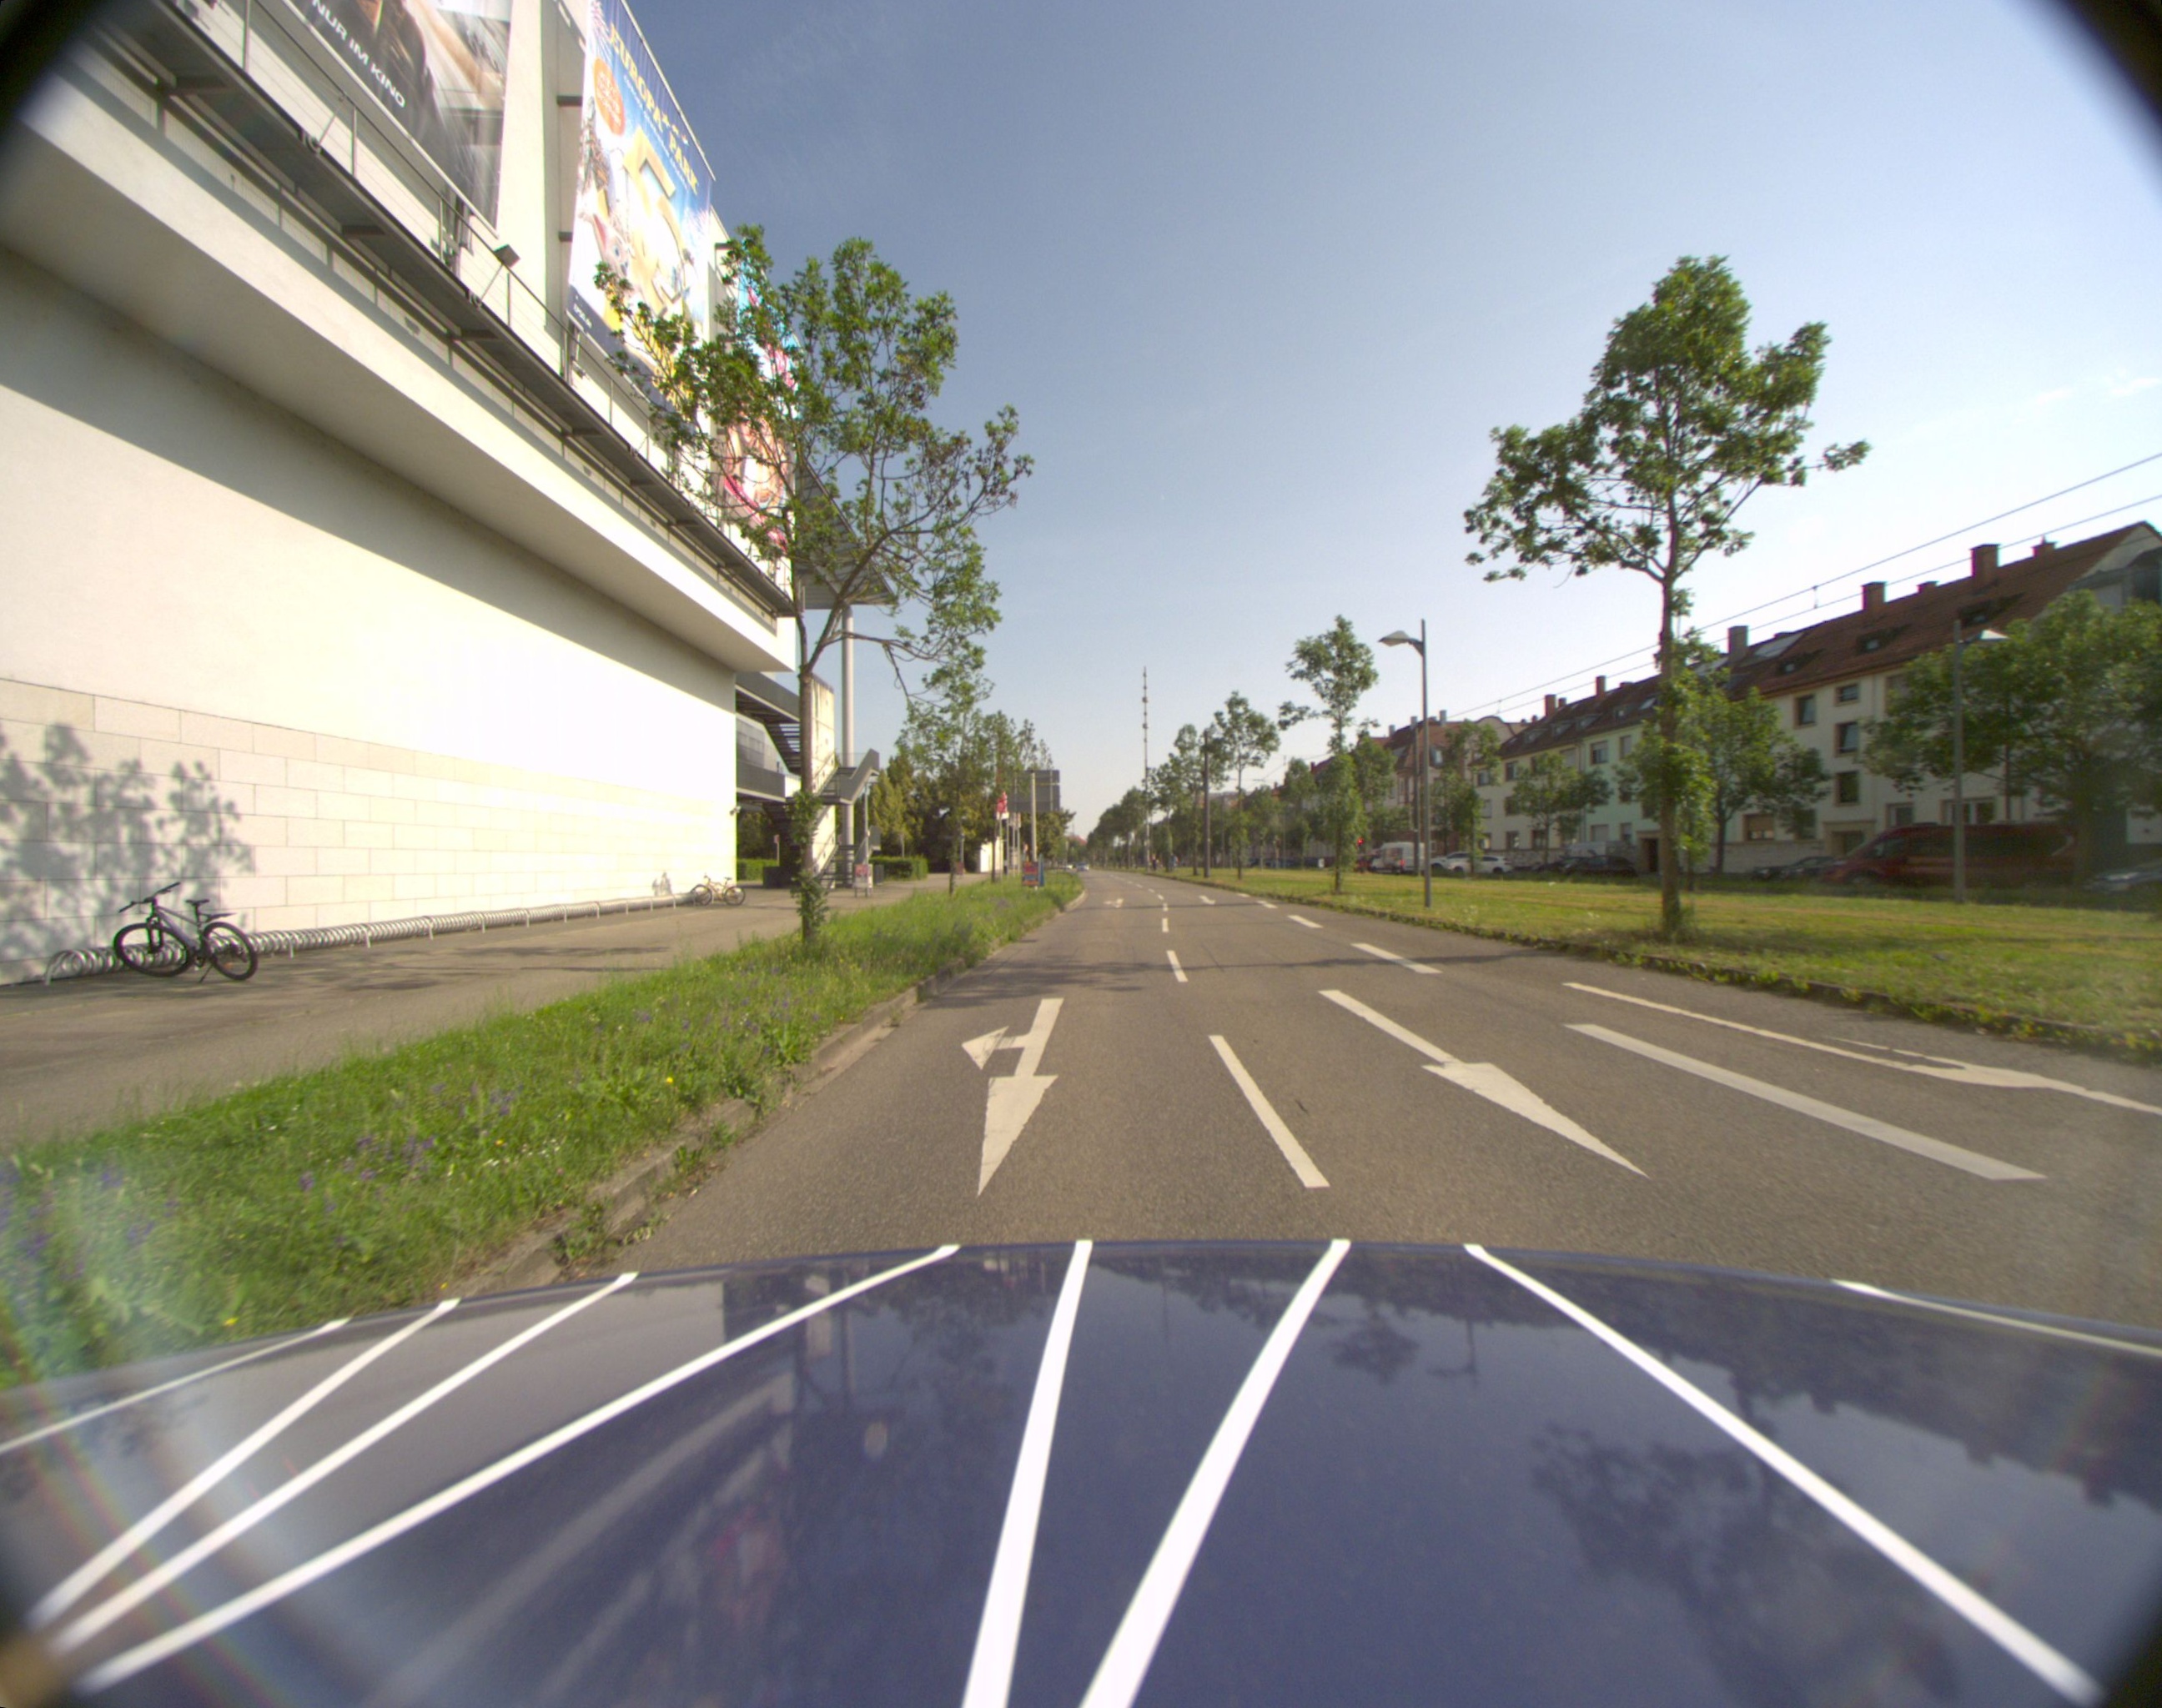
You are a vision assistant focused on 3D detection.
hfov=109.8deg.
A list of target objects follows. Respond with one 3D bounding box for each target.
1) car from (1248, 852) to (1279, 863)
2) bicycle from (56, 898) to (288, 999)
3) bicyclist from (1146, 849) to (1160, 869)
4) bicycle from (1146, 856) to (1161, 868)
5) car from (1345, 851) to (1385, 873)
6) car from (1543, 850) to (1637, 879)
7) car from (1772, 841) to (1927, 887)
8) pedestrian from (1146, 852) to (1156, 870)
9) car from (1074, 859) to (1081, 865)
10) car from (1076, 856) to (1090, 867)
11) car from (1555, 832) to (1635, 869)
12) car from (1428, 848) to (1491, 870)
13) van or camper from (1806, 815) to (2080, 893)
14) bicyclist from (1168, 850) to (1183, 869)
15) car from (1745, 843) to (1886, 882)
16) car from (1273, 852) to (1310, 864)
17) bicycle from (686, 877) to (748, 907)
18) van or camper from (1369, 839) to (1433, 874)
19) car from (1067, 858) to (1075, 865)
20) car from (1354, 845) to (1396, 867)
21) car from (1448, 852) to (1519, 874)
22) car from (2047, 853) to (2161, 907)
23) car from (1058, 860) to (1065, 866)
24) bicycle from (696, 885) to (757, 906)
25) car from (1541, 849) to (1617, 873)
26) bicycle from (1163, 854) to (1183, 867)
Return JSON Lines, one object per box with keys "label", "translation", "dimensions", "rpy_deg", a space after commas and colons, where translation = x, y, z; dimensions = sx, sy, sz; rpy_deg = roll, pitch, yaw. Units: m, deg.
{"label": "car", "translation": [29.064, 0.539, 121.005], "dimensions": [4.490, 1.596, 2.003], "rpy_deg": [-2, 0, 28]}
{"label": "bicycle", "translation": [-10.689, 1.096, 8.972], "dimensions": [2.013, 1.096, 0.676], "rpy_deg": [-1, 0, 3]}
{"label": "bicyclist", "translation": [6.601, 0.429, 69.814], "dimensions": [0.906, 1.812, 0.873], "rpy_deg": [-1, 1, 32]}
{"label": "bicycle", "translation": [6.685, 0.737, 69.860], "dimensions": [0.575, 1.139, 1.756], "rpy_deg": [-1, 0, 32]}
{"label": "car", "translation": [24.215, 0.657, 64.950], "dimensions": [1.820, 1.727, 4.161], "rpy_deg": [1, 0, 0]}
{"label": "car", "translation": [29.405, 0.613, 43.962], "dimensions": [4.338, 1.521, 2.004], "rpy_deg": [-2, 0, 38]}
{"label": "car", "translation": [30.566, 0.413, 30.427], "dimensions": [4.142, 1.607, 1.872], "rpy_deg": [-2, 3, 37]}
{"label": "pedestrian", "translation": [6.530, 0.656, 71.333], "dimensions": [0.610, 1.594, 0.737], "rpy_deg": [-1, 0, 40]}
{"label": "car", "translation": [-1.185, 2.451, 225.335], "dimensions": [1.999, 1.652, 4.000], "rpy_deg": [-1, 0, -1]}
{"label": "car", "translation": [0.333, 1.147, 114.008], "dimensions": [1.999, 1.652, 4.000], "rpy_deg": [-1, 0, -1]}
{"label": "car", "translation": [36.889, -0.241, 54.747], "dimensions": [1.998, 2.449, 5.577], "rpy_deg": [-2, 0, 0]}
{"label": "car", "translation": [29.553, 0.410, 59.349], "dimensions": [4.088, 1.520, 1.816], "rpy_deg": [-2, 0, 36]}
{"label": "van or camper", "translation": [30.603, 0.054, 27.413], "dimensions": [6.145, 2.532, 2.419], "rpy_deg": [-1, 0, 35]}
{"label": "bicyclist", "translation": [8.990, 0.518, 72.391], "dimensions": [1.185, 1.839, 0.911], "rpy_deg": [-2, 1, 17]}
{"label": "car", "translation": [31.307, 0.382, 32.583], "dimensions": [4.142, 1.501, 1.872], "rpy_deg": [-2, 3, 37]}
{"label": "car", "translation": [29.029, 0.574, 104.944], "dimensions": [4.504, 1.432, 2.004], "rpy_deg": [-2, 0, 30]}
{"label": "bicycle", "translation": [-11.300, 1.171, 23.610], "dimensions": [1.661, 0.910, 0.482], "rpy_deg": [0, 0, -1]}
{"label": "van or camper", "translation": [24.267, 0.199, 57.974], "dimensions": [2.147, 2.459, 6.057], "rpy_deg": [1, 0, -1]}
{"label": "car", "translation": [-2.582, 1.790, 189.292], "dimensions": [1.999, 1.652, 4.000], "rpy_deg": [-1, 0, -1]}
{"label": "car", "translation": [35.966, 0.228, 93.228], "dimensions": [2.355, 2.549, 6.506], "rpy_deg": [-2, 0, -3]}
{"label": "car", "translation": [29.821, 0.674, 56.368], "dimensions": [4.355, 1.466, 1.861], "rpy_deg": [-2, 0, 36]}
{"label": "car", "translation": [30.115, 0.699, 20.909], "dimensions": [3.989, 1.412, 1.785], "rpy_deg": [-2, 0, 34]}
{"label": "car", "translation": [-5.738, 2.598, 224.848], "dimensions": [1.999, 1.652, 4.000], "rpy_deg": [-1, 0, -1]}
{"label": "bicycle", "translation": [-11.332, 1.321, 24.308], "dimensions": [1.661, 0.641, 0.538], "rpy_deg": [0, 0, -1]}
{"label": "car", "translation": [30.392, 0.424, 46.395], "dimensions": [3.767, 1.335, 1.776], "rpy_deg": [-2, 0, 36]}
{"label": "bicycle", "translation": [8.760, 0.647, 72.453], "dimensions": [1.790, 1.139, 0.577], "rpy_deg": [-2, 1, 16]}
